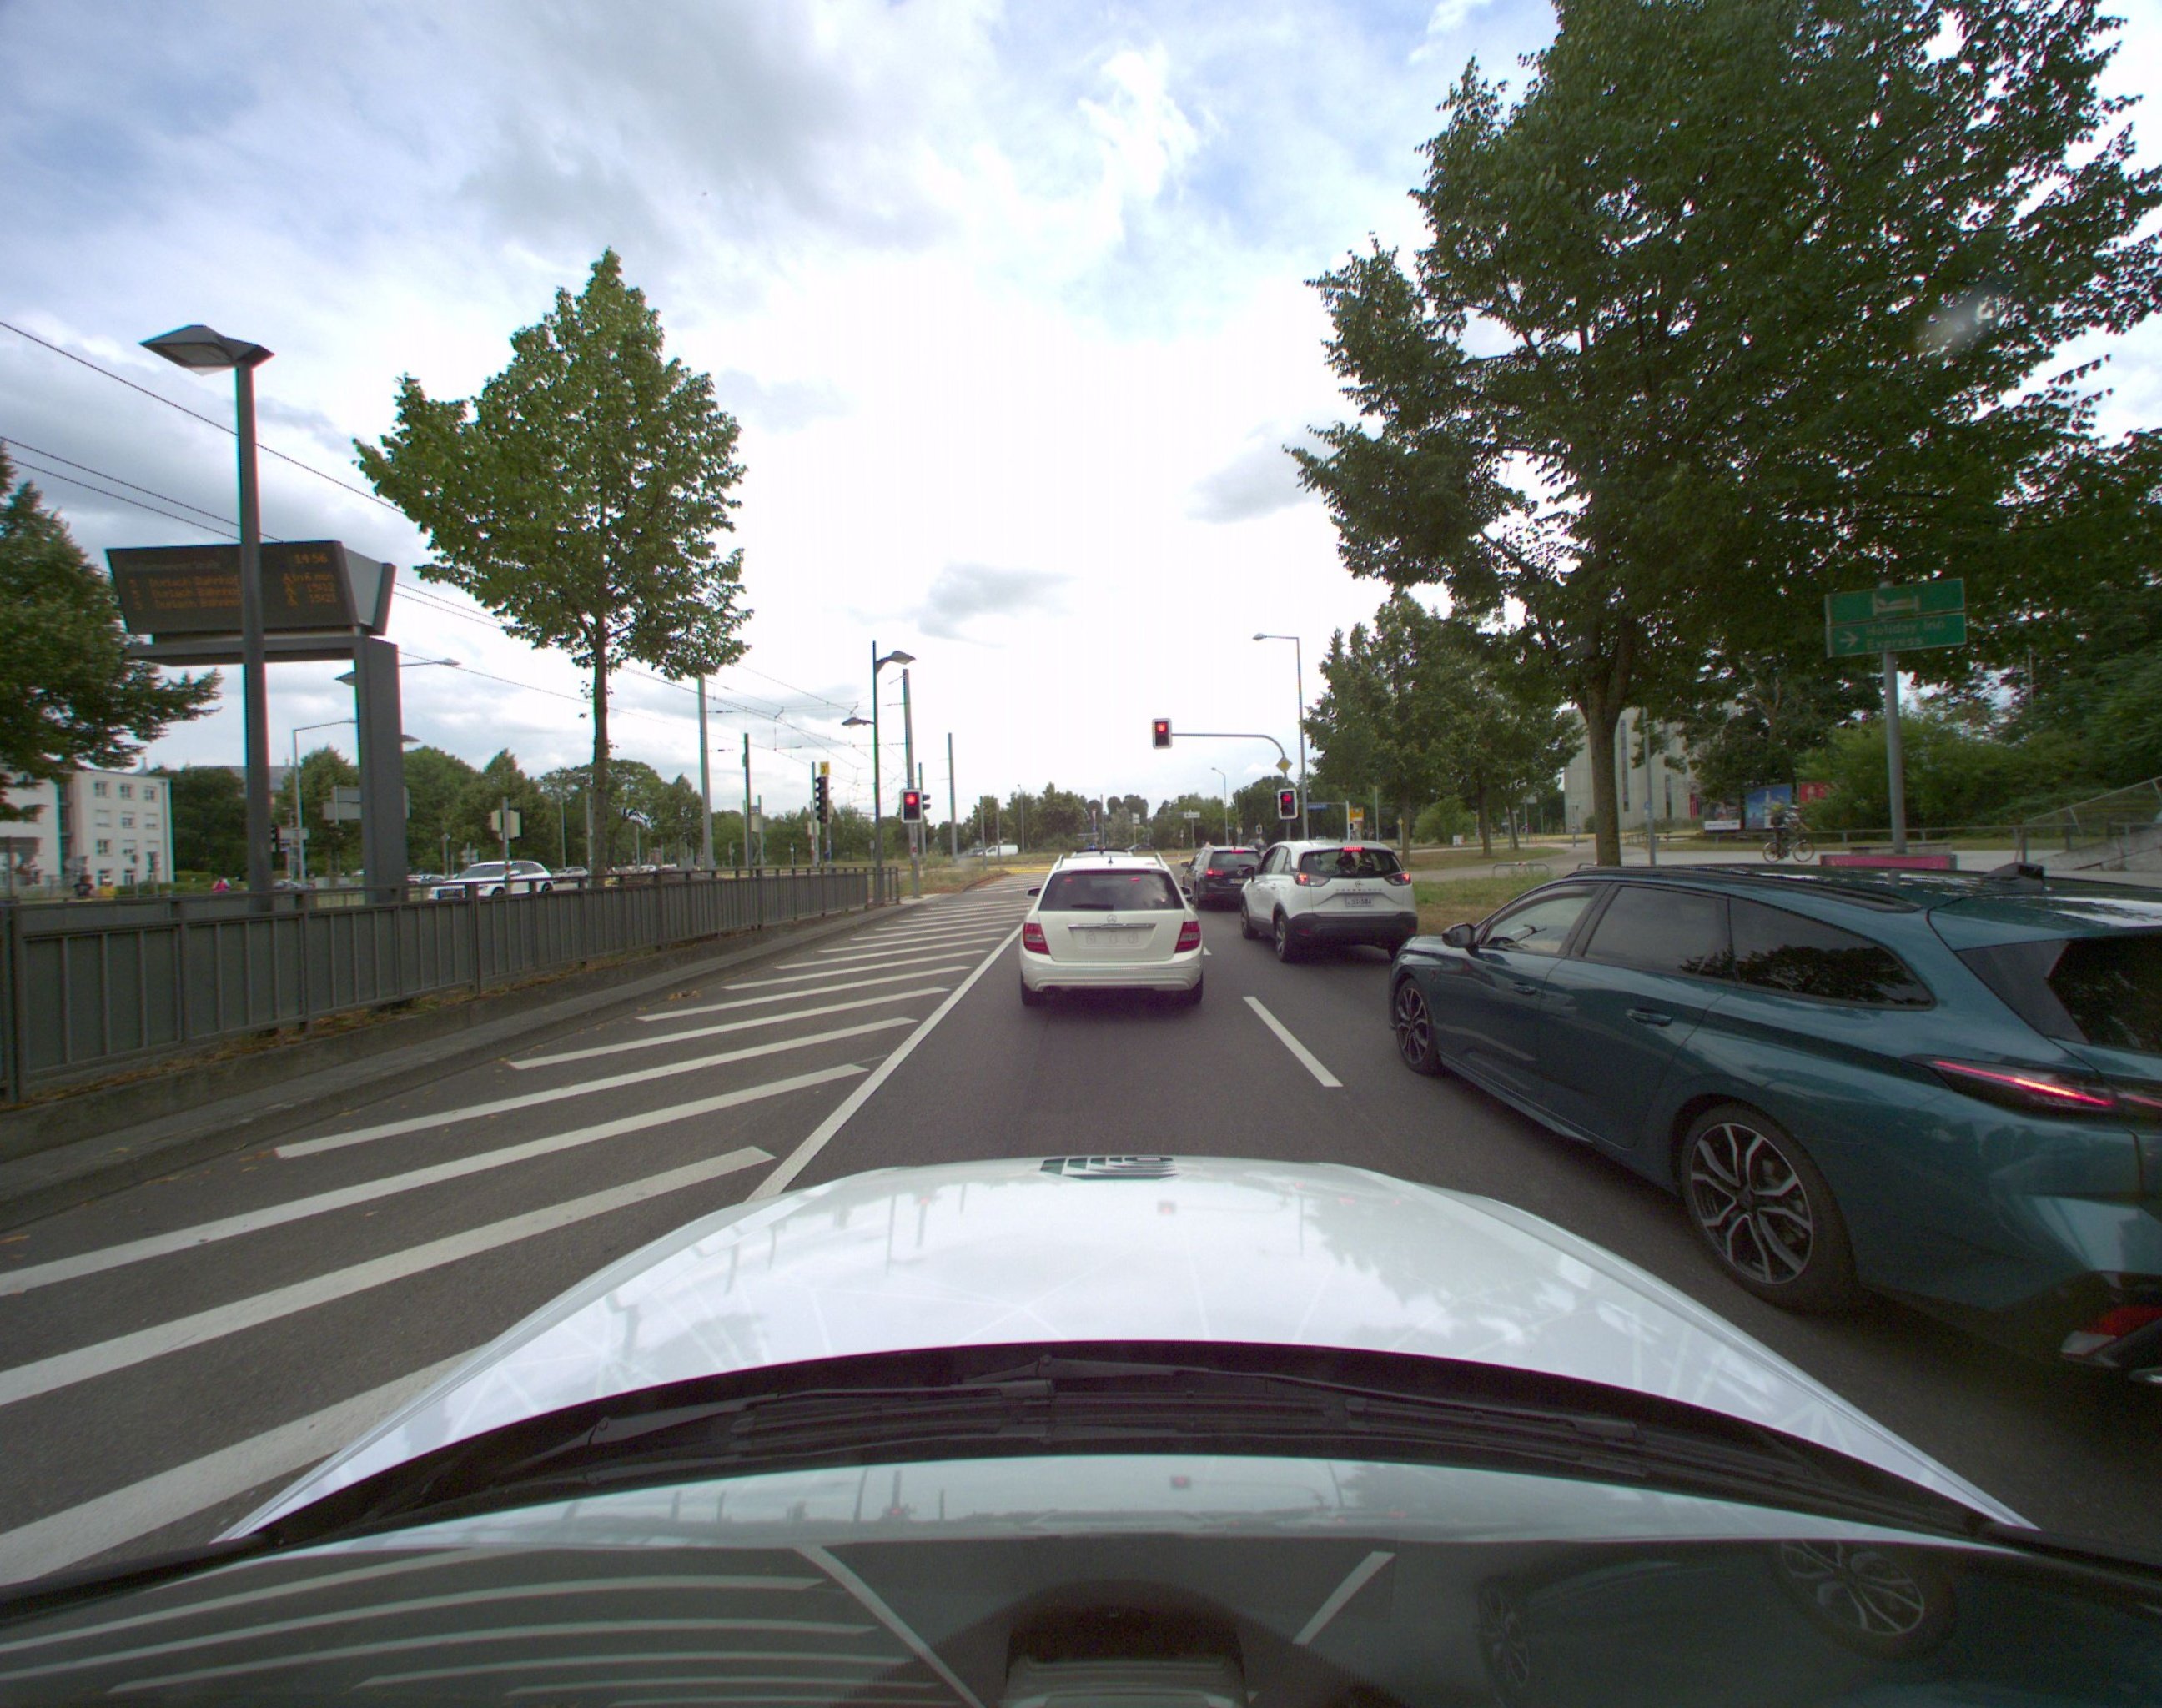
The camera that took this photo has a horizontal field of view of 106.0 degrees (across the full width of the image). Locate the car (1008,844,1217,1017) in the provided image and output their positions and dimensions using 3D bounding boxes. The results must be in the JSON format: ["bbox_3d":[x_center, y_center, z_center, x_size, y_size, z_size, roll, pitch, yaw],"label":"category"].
[{"bbox_3d":[0.277,0.638,8.911,1.768,1.448,3.910,-1,0,0],"label":"car"}]

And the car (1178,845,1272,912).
[{"bbox_3d":[3.406,0.527,19.906,1.619,1.448,3.910,-1,0,0],"label":"car"}]

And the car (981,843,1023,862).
[{"bbox_3d":[-9.687,-0.198,99.589,4.984,2.013,1.993,-2,0,-11],"label":"car"}]

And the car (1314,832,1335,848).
[{"bbox_3d":[26.122,-1.470,87.513,1.771,1.636,4.416,-2,1,11],"label":"car"}]

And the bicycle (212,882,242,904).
[{"bbox_3d":[-48.652,2.215,46.409,0.813,1.129,2.676,-2,1,-39],"label":"bicycle"}]

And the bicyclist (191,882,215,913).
[{"bbox_3d":[-54.577,2.715,50.640,0.835,1.834,0.775,-2,0,-36],"label":"bicyclist"}]

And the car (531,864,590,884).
[{"bbox_3d":[-47.310,1.791,74.122,1.976,1.641,4.022,-2,1,22],"label":"car"}]

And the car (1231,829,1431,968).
[{"bbox_3d":[3.405,0.531,11.865,1.780,1.624,3.912,-2,0,2],"label":"car"}]

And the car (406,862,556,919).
[{"bbox_3d":[-19.852,1.140,27.229,1.990,1.618,4.377,-2,0,-5],"label":"car"}]

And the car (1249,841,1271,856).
[{"bbox_3d":[21.103,-0.658,95.919,1.976,1.791,4.021,0,0,21],"label":"car"}]

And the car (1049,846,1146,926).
[{"bbox_3d":[0.311,0.577,16.989,1.768,1.448,3.910,-1,0,0],"label":"car"}]

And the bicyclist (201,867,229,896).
[{"bbox_3d":[-49.046,1.555,46.121,0.895,1.562,0.742,-2,0,-35],"label":"bicyclist"}]

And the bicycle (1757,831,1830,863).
[{"bbox_3d":[23.608,-0.243,26.995,1.927,0.984,0.564,-2,0,0],"label":"bicycle"}]

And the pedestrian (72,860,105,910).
[{"bbox_3d":[-37.733,1.169,30.964,0.652,1.849,0.486,-2,0,-36],"label":"pedestrian"}]

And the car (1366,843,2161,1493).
[{"bbox_3d":[3.096,0.680,4.012,1.782,1.432,4.308,-1,1,-1],"label":"car"}]

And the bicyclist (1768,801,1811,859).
[{"bbox_3d":[23.489,-0.779,27.013,0.726,1.885,0.734,-2,0,1],"label":"bicyclist"}]
